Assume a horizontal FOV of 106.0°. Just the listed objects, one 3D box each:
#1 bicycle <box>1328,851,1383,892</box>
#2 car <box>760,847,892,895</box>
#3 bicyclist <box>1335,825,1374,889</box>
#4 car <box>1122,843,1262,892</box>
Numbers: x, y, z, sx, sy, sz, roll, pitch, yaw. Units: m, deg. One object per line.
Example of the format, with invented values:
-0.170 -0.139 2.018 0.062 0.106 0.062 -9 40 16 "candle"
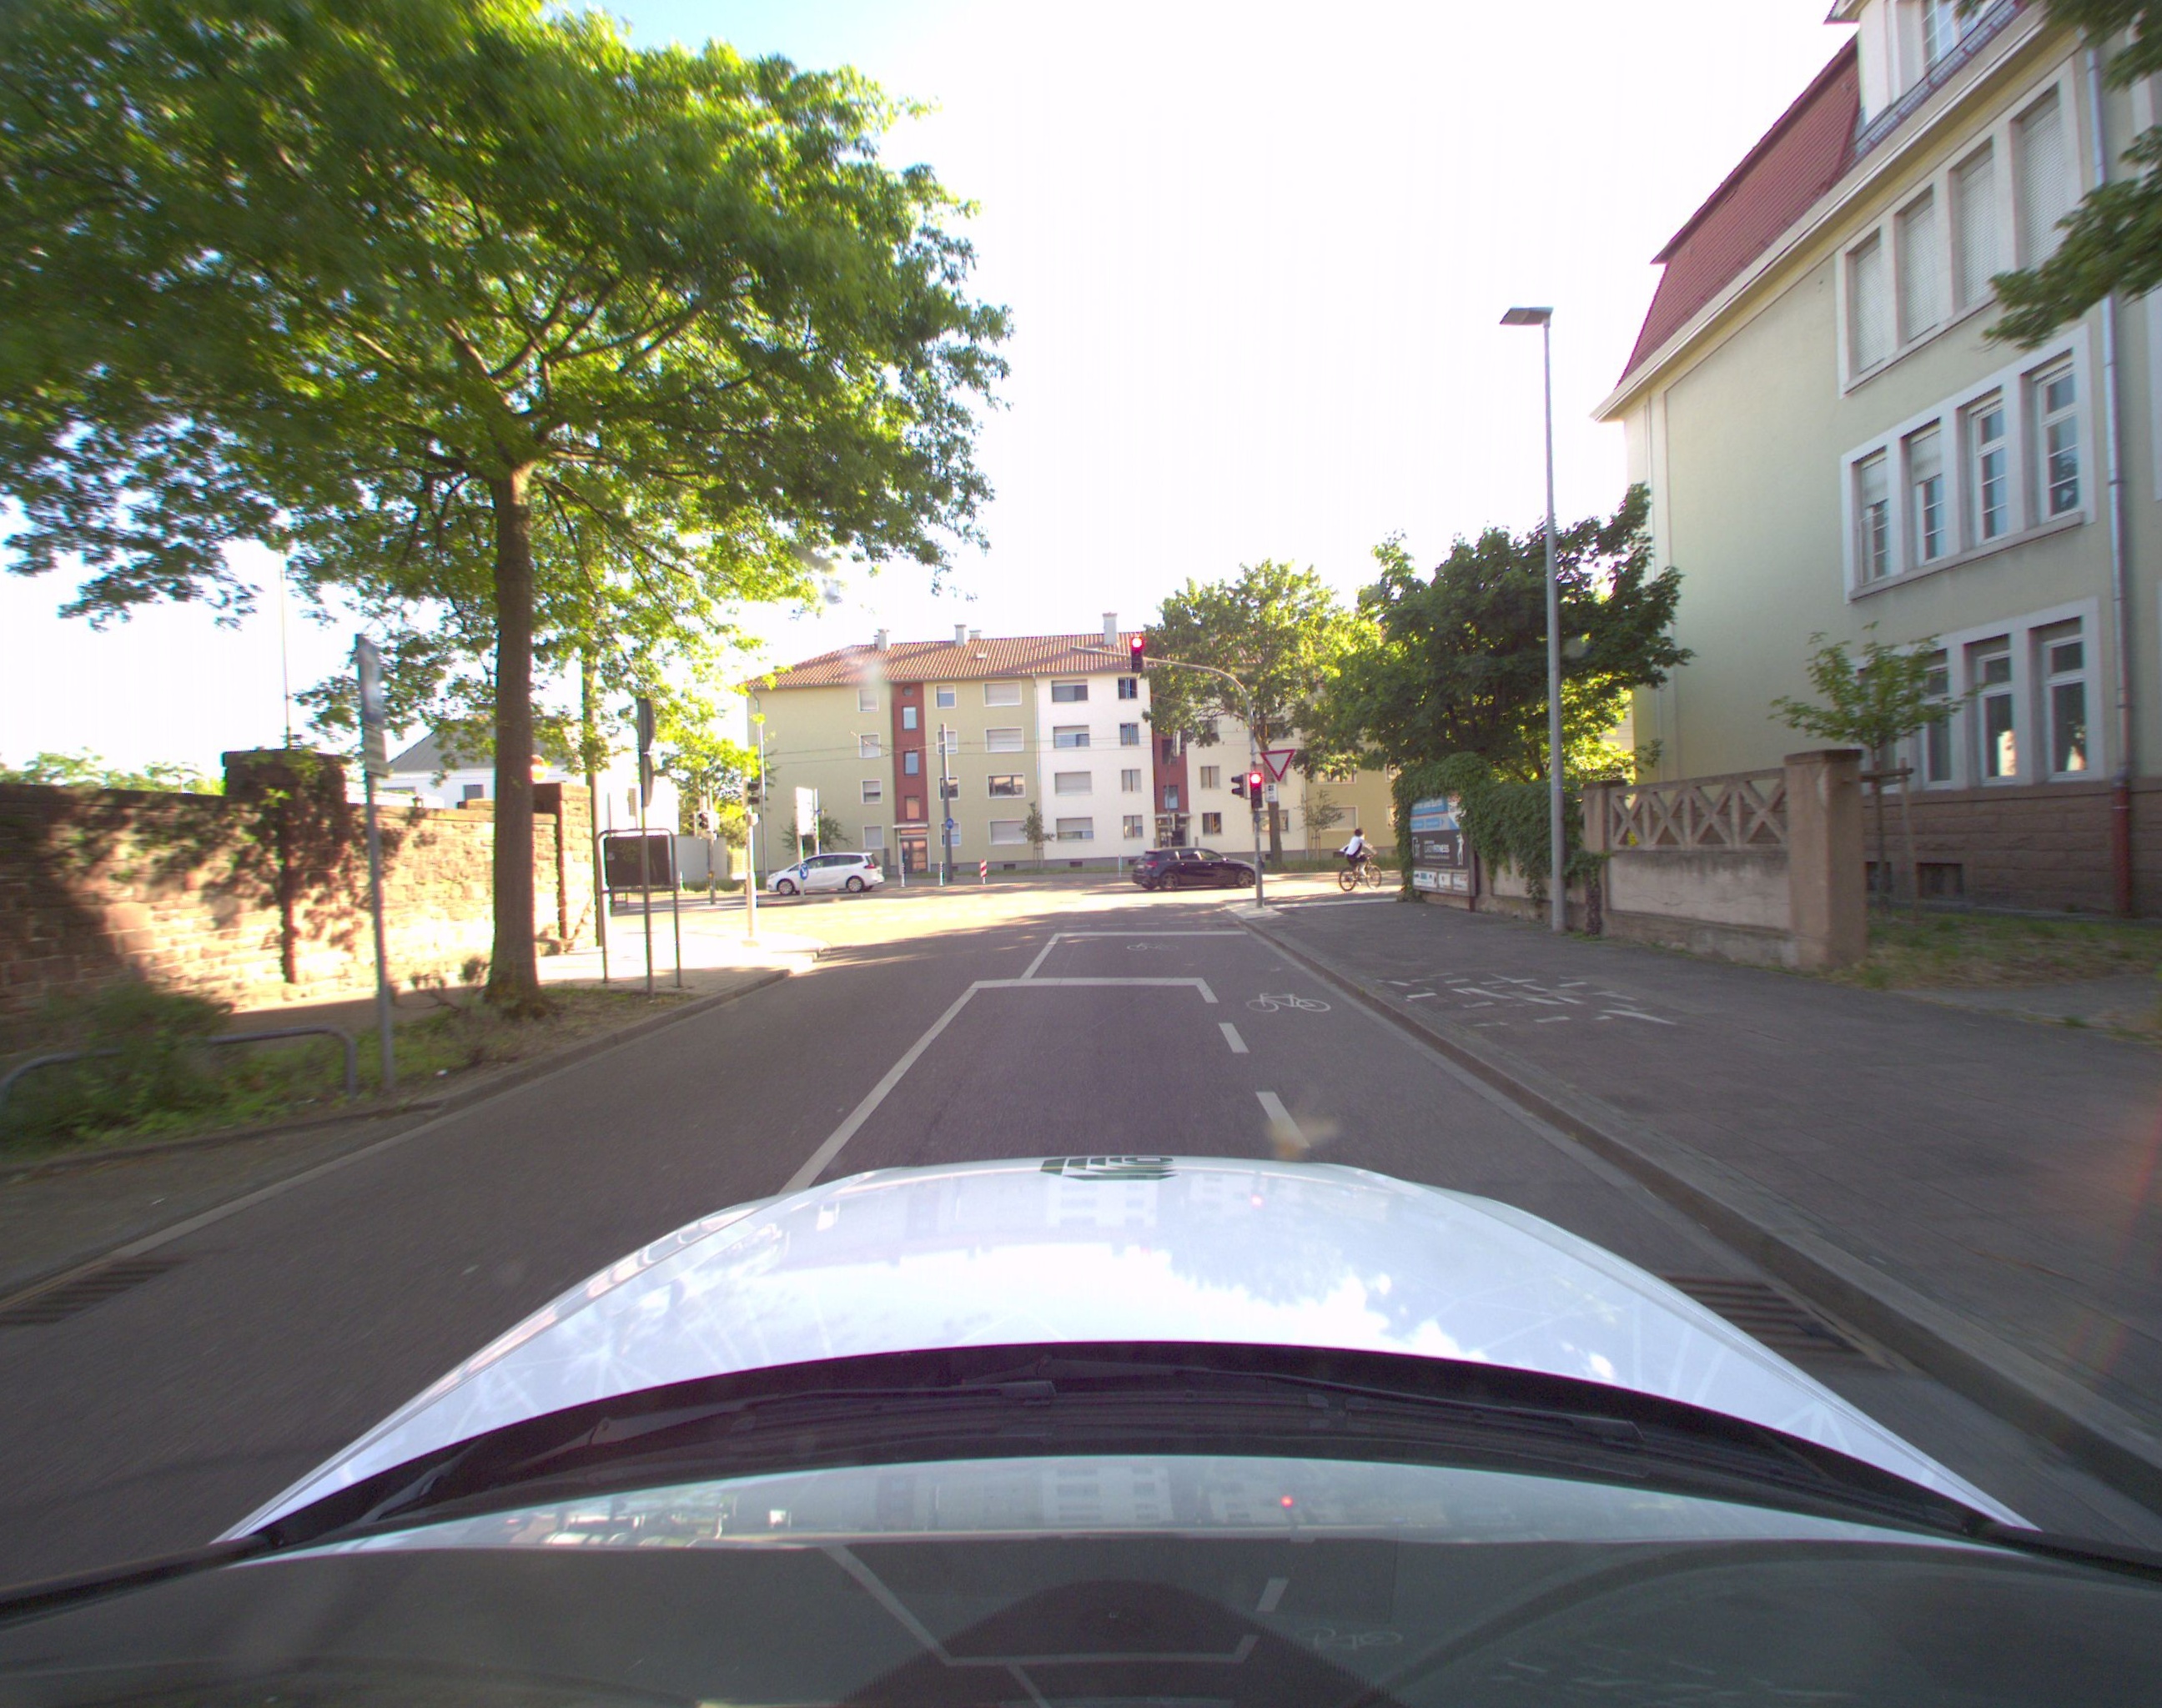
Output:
7.775 0.473 23.033 1.692 1.080 0.348 -2 0 -25 "bicycle"
-10.295 0.662 33.166 4.650 1.739 1.999 -2 0 -2 "car"
7.741 0.081 23.026 0.790 1.757 0.608 -2 0 -23 "bicyclist"
3.668 0.400 26.954 4.208 1.421 1.840 -2 1 -21 "car"
